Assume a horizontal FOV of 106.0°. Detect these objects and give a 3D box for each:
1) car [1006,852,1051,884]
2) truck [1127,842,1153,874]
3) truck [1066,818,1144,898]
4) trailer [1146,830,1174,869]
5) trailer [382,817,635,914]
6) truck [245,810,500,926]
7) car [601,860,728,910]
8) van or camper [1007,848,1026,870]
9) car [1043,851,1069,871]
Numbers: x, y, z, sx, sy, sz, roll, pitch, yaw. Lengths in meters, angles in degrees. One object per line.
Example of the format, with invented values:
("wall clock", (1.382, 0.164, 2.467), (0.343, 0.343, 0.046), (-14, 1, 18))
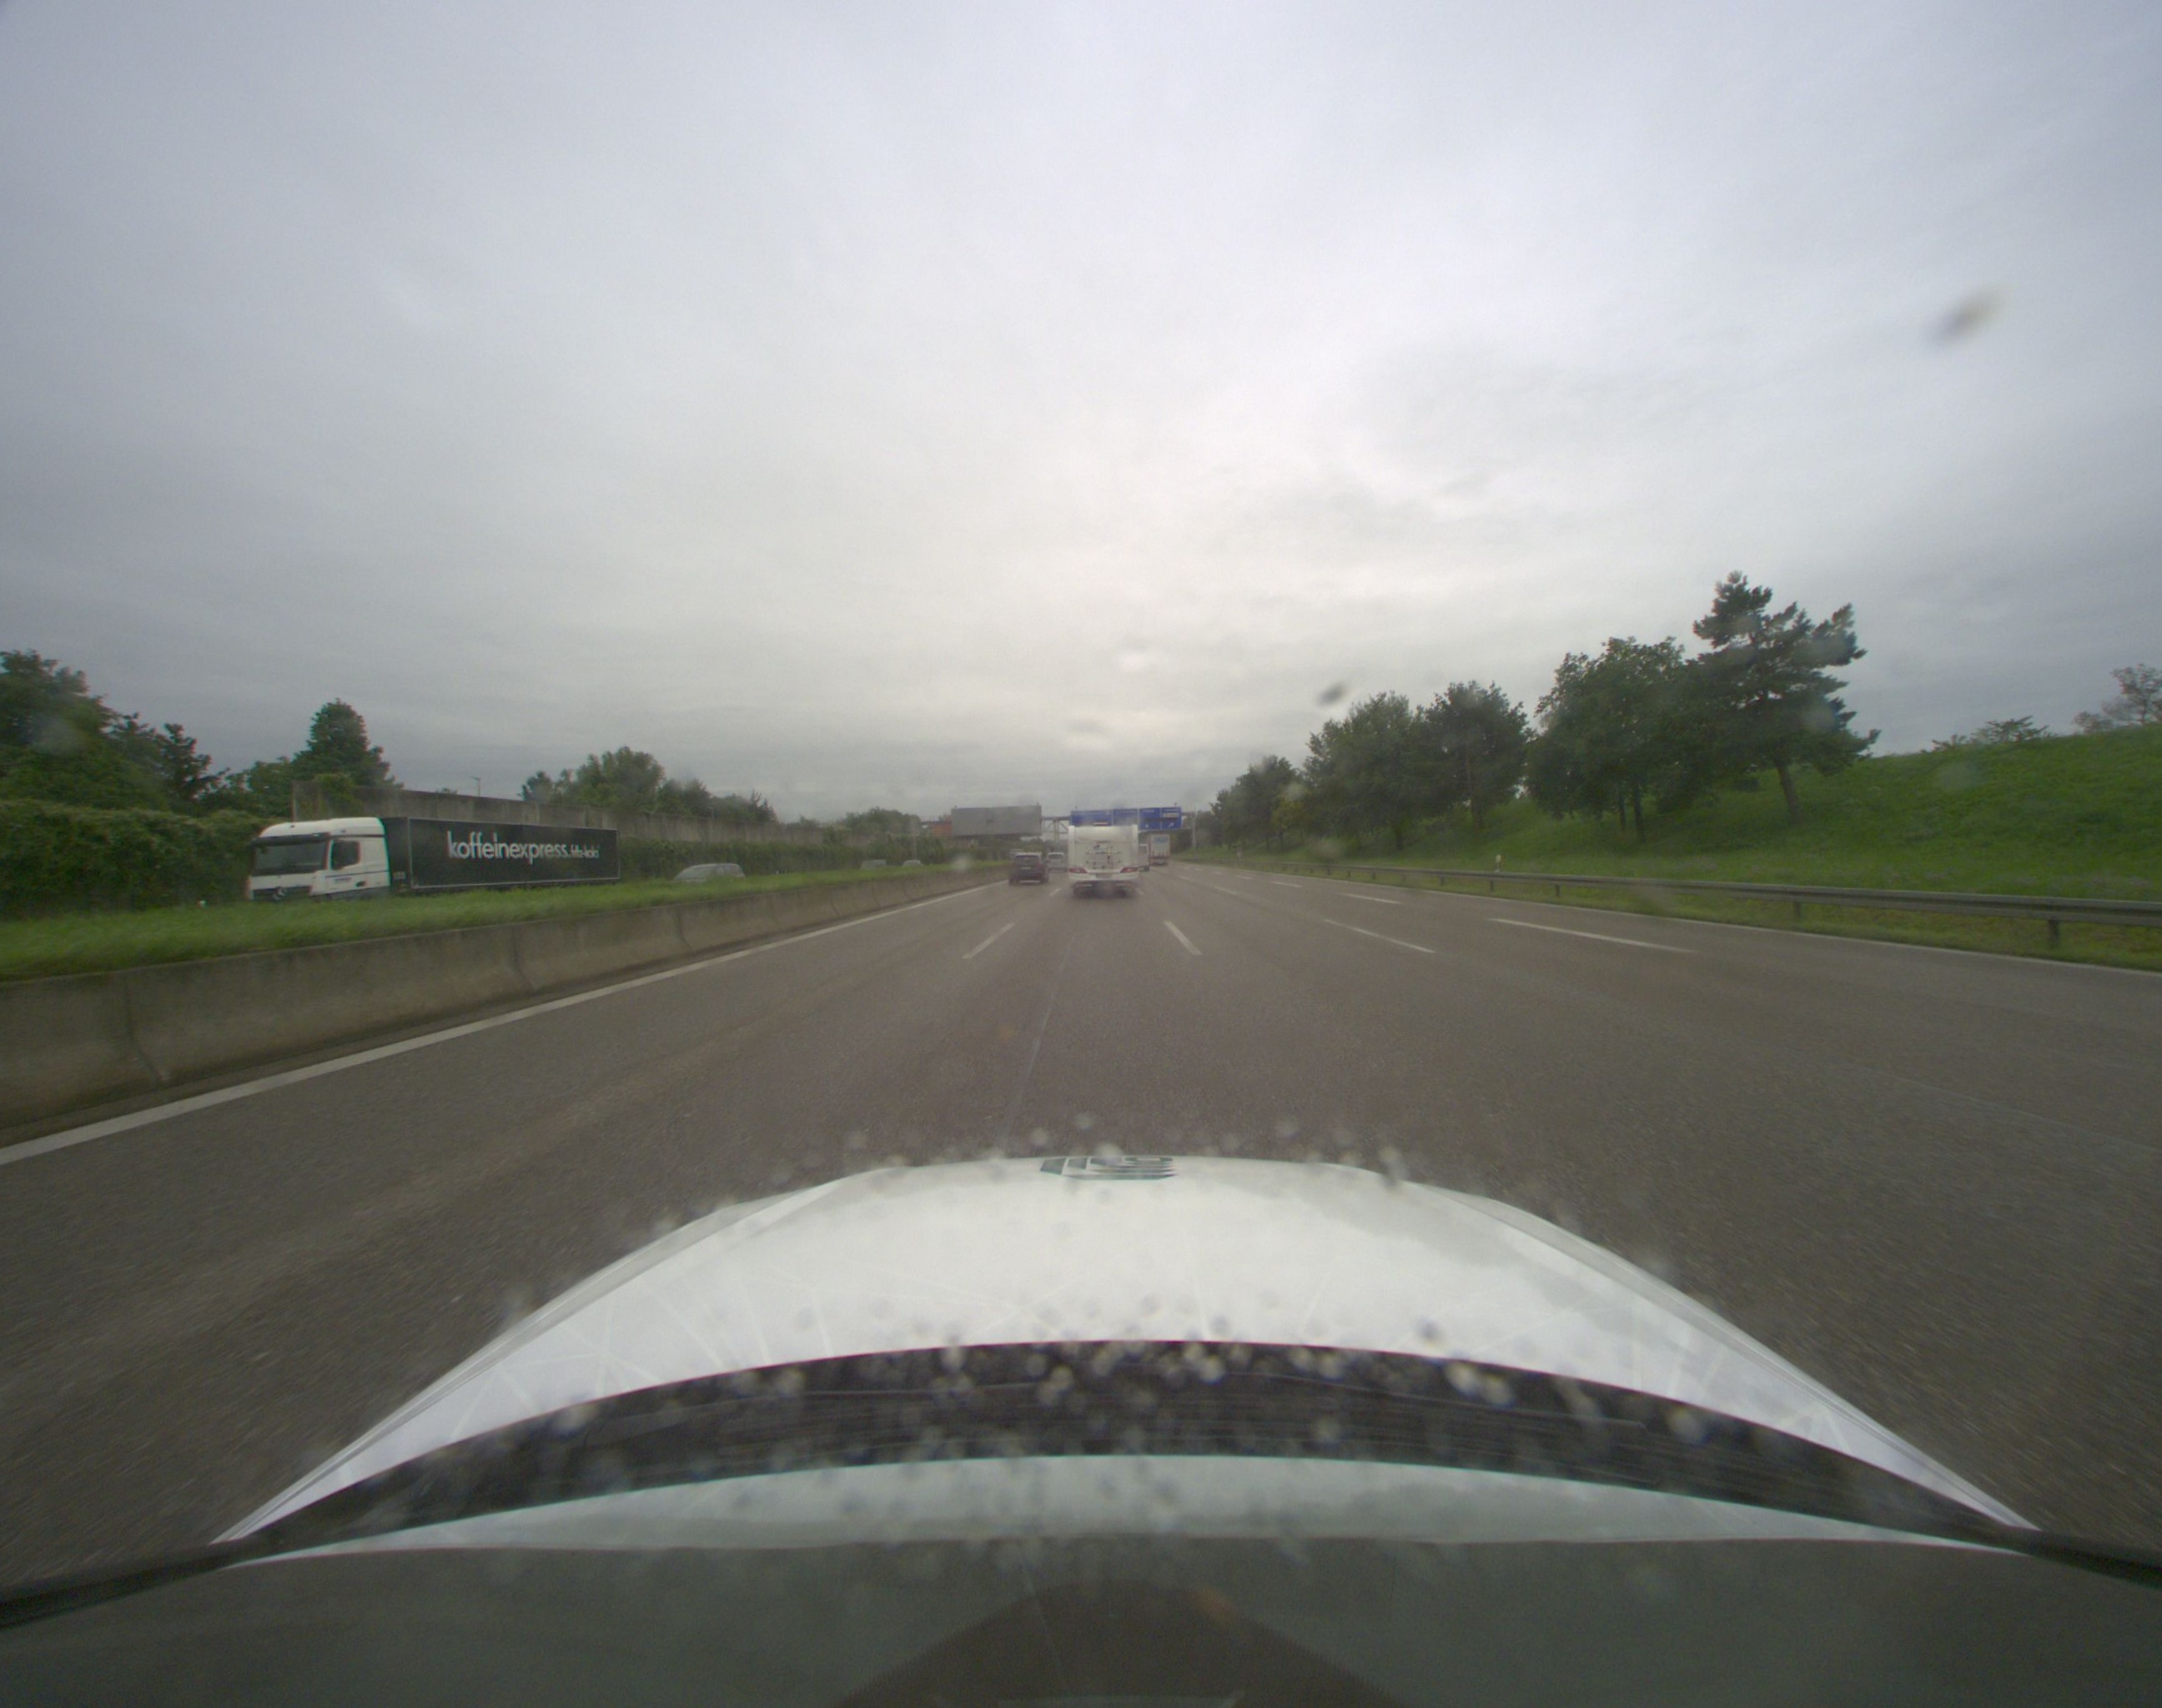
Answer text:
("car", (-2.727, 0.727, 43.455), (1.986, 1.600, 5.124), (0, 0, 1))
("truck", (5.239, 0.406, 73.428), (2.046, 2.770, 5.550), (0, 0, 1))
("truck", (0.873, 0.155, 30.482), (2.651, 2.742, 5.078), (0, 0, 1))
("trailer", (10.372, -0.565, 108.240), (3.087, 4.922, 11.797), (0, 0, 3))
("trailer", (-22.232, 0.428, 32.803), (2.297, 3.290, 10.569), (0, 0, 3))
("truck", (-22.472, 0.414, 26.425), (2.307, 3.273, 6.585), (0, 0, 2))
("car", (-14.770, 1.042, 29.256), (1.986, 1.608, 4.743), (-1, 0, 2))
("van or camper", (-11.848, 0.942, 150.002), (2.698, 3.948, 8.405), (0, 0, 2))
("car", (-2.196, 0.646, 71.955), (2.120, 1.706, 4.113), (0, 0, 1))
